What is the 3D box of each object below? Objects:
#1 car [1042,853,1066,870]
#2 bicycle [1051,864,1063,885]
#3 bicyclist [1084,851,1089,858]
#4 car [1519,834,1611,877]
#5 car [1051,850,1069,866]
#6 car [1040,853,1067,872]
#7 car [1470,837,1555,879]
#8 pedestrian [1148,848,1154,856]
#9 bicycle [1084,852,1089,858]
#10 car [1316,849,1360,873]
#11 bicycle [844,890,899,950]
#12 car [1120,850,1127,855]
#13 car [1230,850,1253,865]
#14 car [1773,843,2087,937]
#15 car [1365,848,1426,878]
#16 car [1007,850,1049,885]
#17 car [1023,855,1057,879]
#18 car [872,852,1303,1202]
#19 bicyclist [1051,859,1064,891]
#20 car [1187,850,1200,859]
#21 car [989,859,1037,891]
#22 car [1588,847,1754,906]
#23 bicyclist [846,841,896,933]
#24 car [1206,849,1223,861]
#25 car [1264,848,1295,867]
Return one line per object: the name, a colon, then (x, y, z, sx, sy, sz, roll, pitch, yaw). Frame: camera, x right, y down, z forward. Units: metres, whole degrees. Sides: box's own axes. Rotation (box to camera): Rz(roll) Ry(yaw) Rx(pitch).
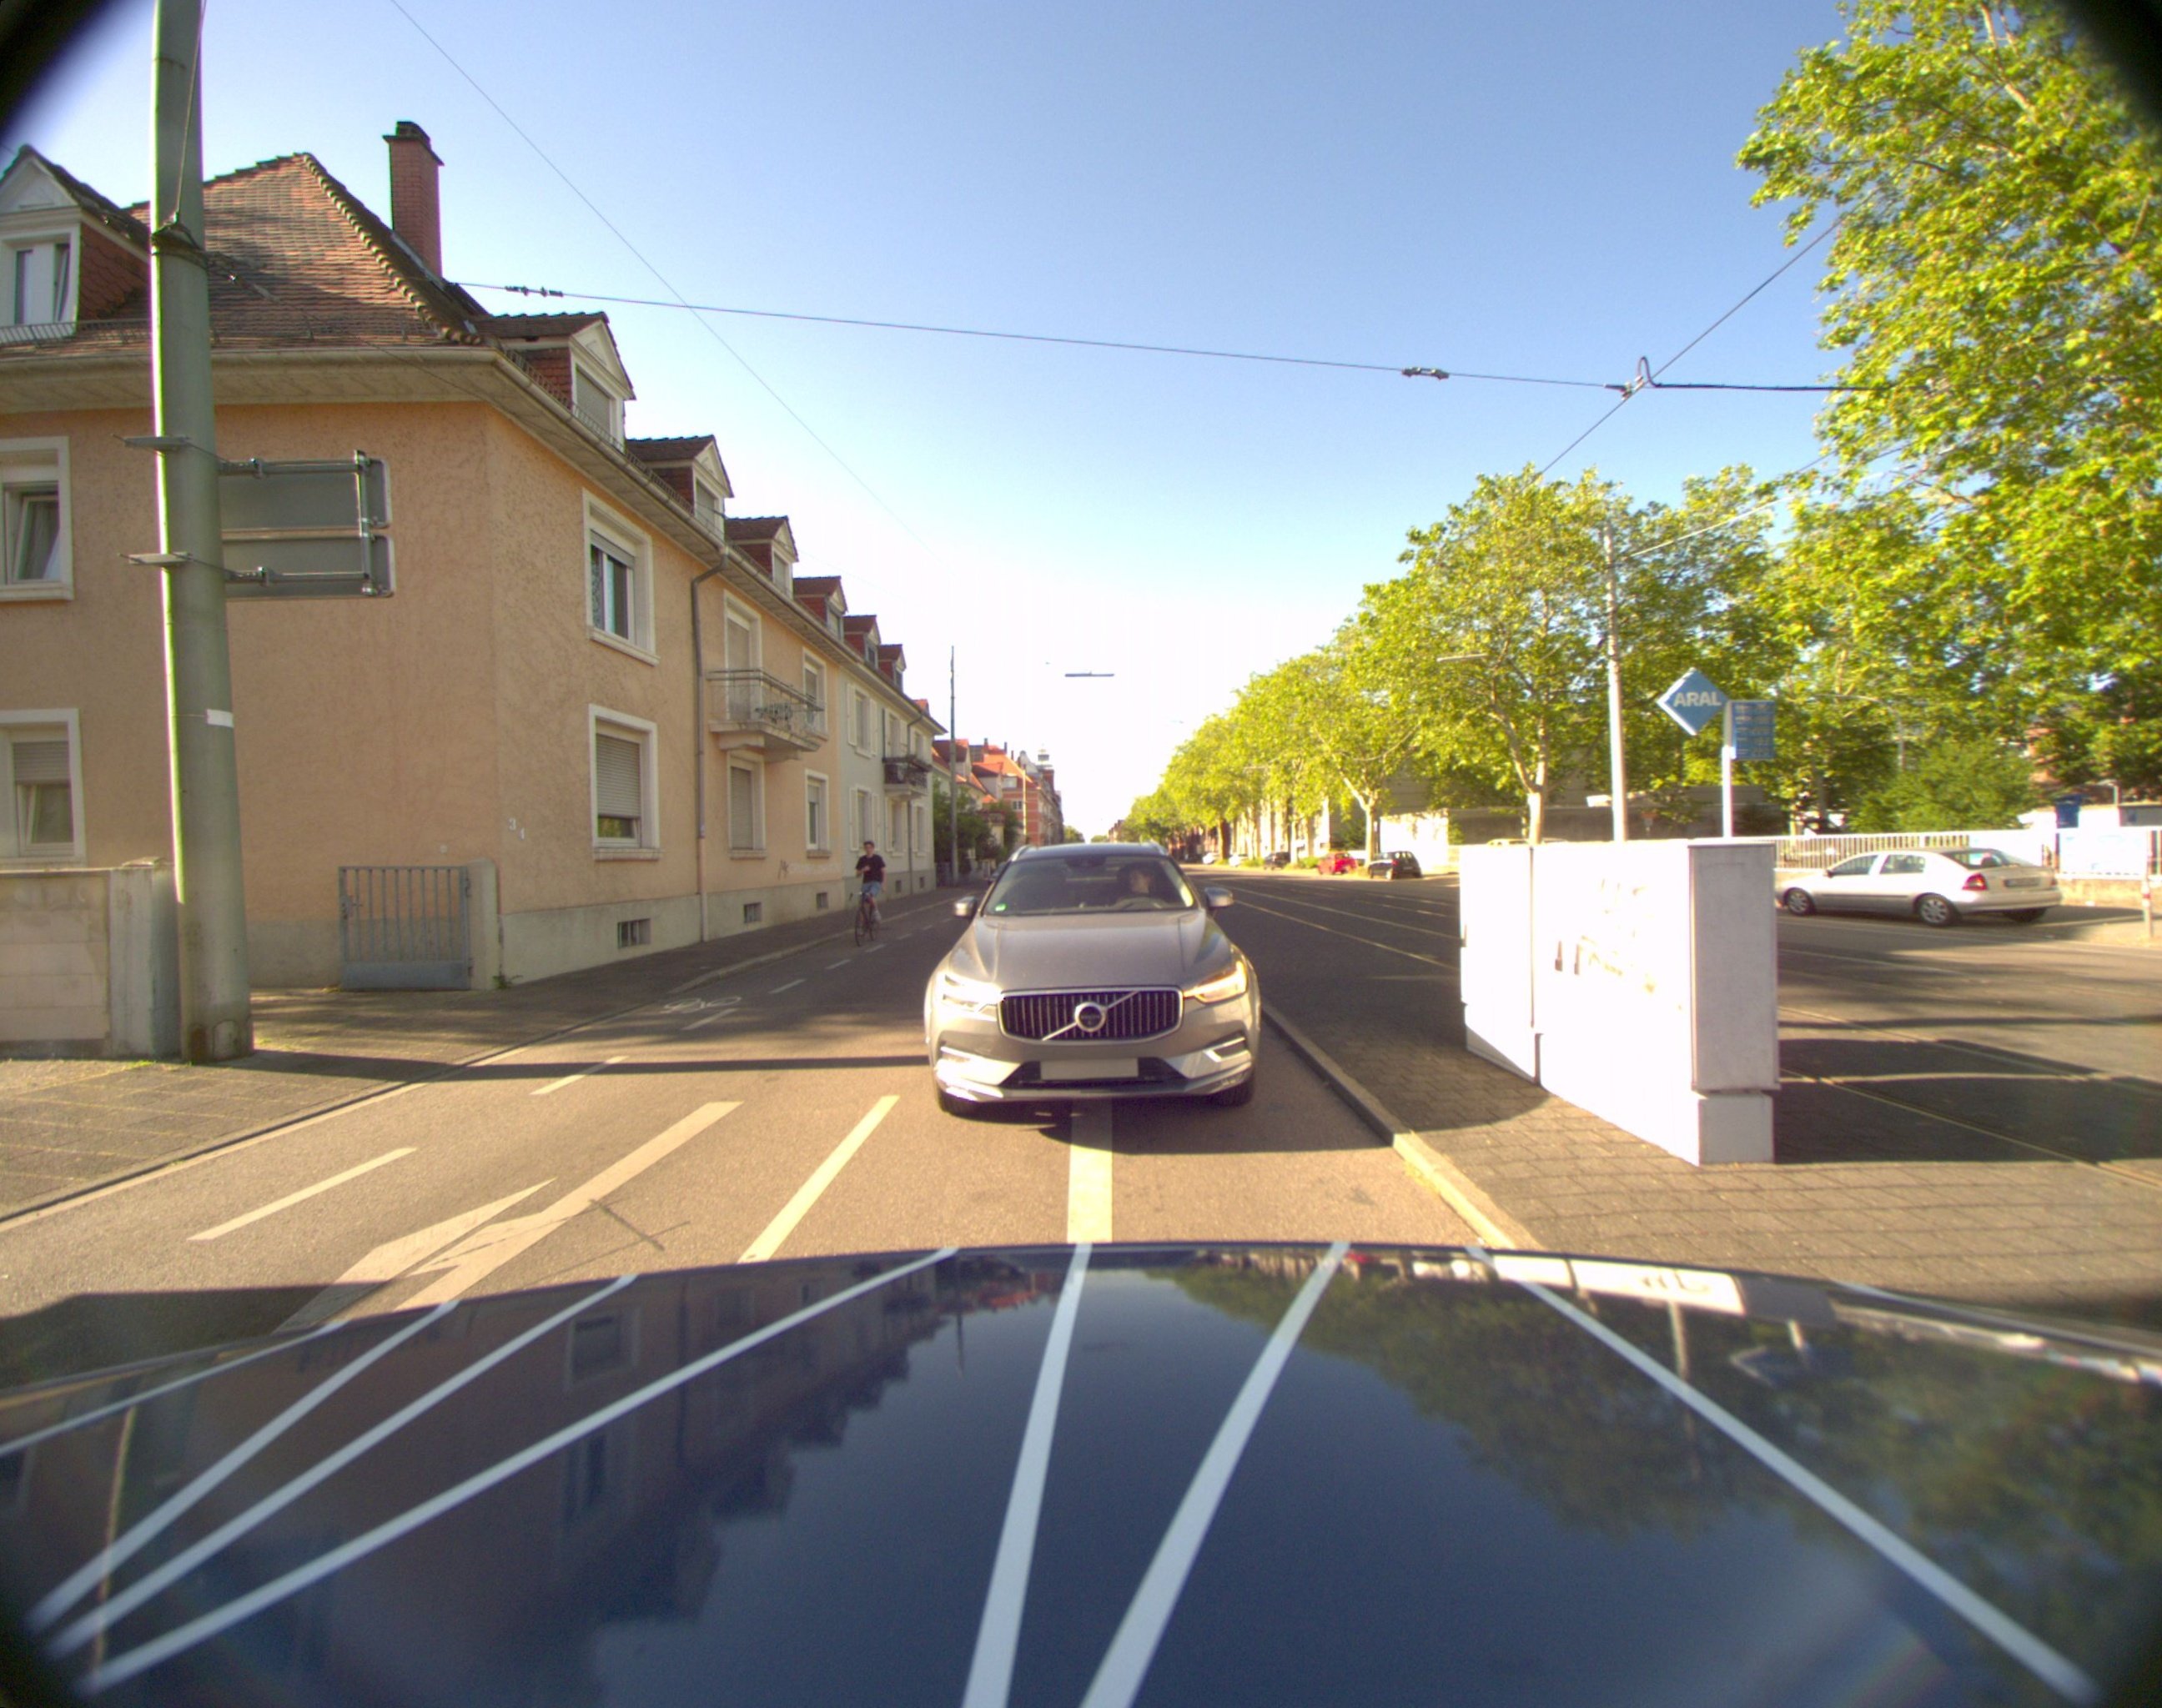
car: (-2.344, 0.619, 66.357, 1.867, 1.399, 4.078, -1, 0, 1)
bicycle: (-1.241, 1.055, 39.776, 0.550, 1.056, 1.794, -1, 1, -1)
bicyclist: (1.210, 0.021, 168.669, 1.054, 1.496, 1.250, -1, 1, 1)
car: (24.167, 0.082, 38.095, 1.999, 2.002, 3.999, -1, 0, -1)
car: (-2.315, 0.430, 85.446, 1.867, 1.653, 4.078, -1, 0, 1)
car: (-2.124, 0.666, 60.052, 1.867, 1.399, 4.078, -1, 0, 1)
car: (21.819, 0.170, 38.635, 1.999, 2.002, 3.999, -1, 0, -1)
pedestrian: (19.609, -0.546, 213.131, 1.686, 2.002, 1.761, -1, 1, 1)
bicycle: (1.225, 0.305, 168.730, 1.054, 1.262, 3.914, -1, 0, 1)
car: (16.912, 0.452, 50.179, 1.717, 1.421, 3.858, -3, 0, 3)
bicycle: (-4.060, 1.255, 14.849, 0.533, 1.011, 1.758, -1, 0, 1)
car: (13.859, -0.546, 245.781, 1.998, 1.685, 4.000, -1, 0, 1)
car: (17.588, 0.356, 83.338, 1.758, 1.475, 3.858, -3, 0, 3)
car: (16.245, 0.609, 14.902, 1.847, 1.477, 3.858, -4, 0, 2)
car: (16.899, 0.459, 41.037, 1.758, 1.449, 3.858, -3, 0, 3)
car: (-2.905, 0.700, 42.826, 1.867, 1.778, 5.297, -1, 0, 1)
car: (-2.570, 0.813, 48.493, 1.867, 1.399, 4.078, -1, 0, 1)
car: (0.062, 0.815, 5.926, 1.998, 1.609, 4.697, -1, 0, 1)
bicyclist: (-1.225, 1.089, 39.897, 0.562, 1.607, 1.016, -2, 1, 0)
car: (18.519, 0.058, 125.288, 1.758, 1.475, 3.858, -3, 0, 3)
car: (-3.229, 0.963, 37.072, 1.867, 1.399, 4.424, -1, 0, 1)
car: (16.486, 0.570, 21.509, 1.745, 1.389, 3.858, -4, 0, 3)
bicyclist: (-4.081, 0.619, 14.829, 0.561, 1.721, 1.084, -2, 1, 1)
car: (17.682, 0.164, 100.932, 1.758, 1.475, 3.858, -3, 0, 3)
car: (17.182, 0.294, 65.910, 1.758, 1.536, 3.858, -3, 0, 3)
